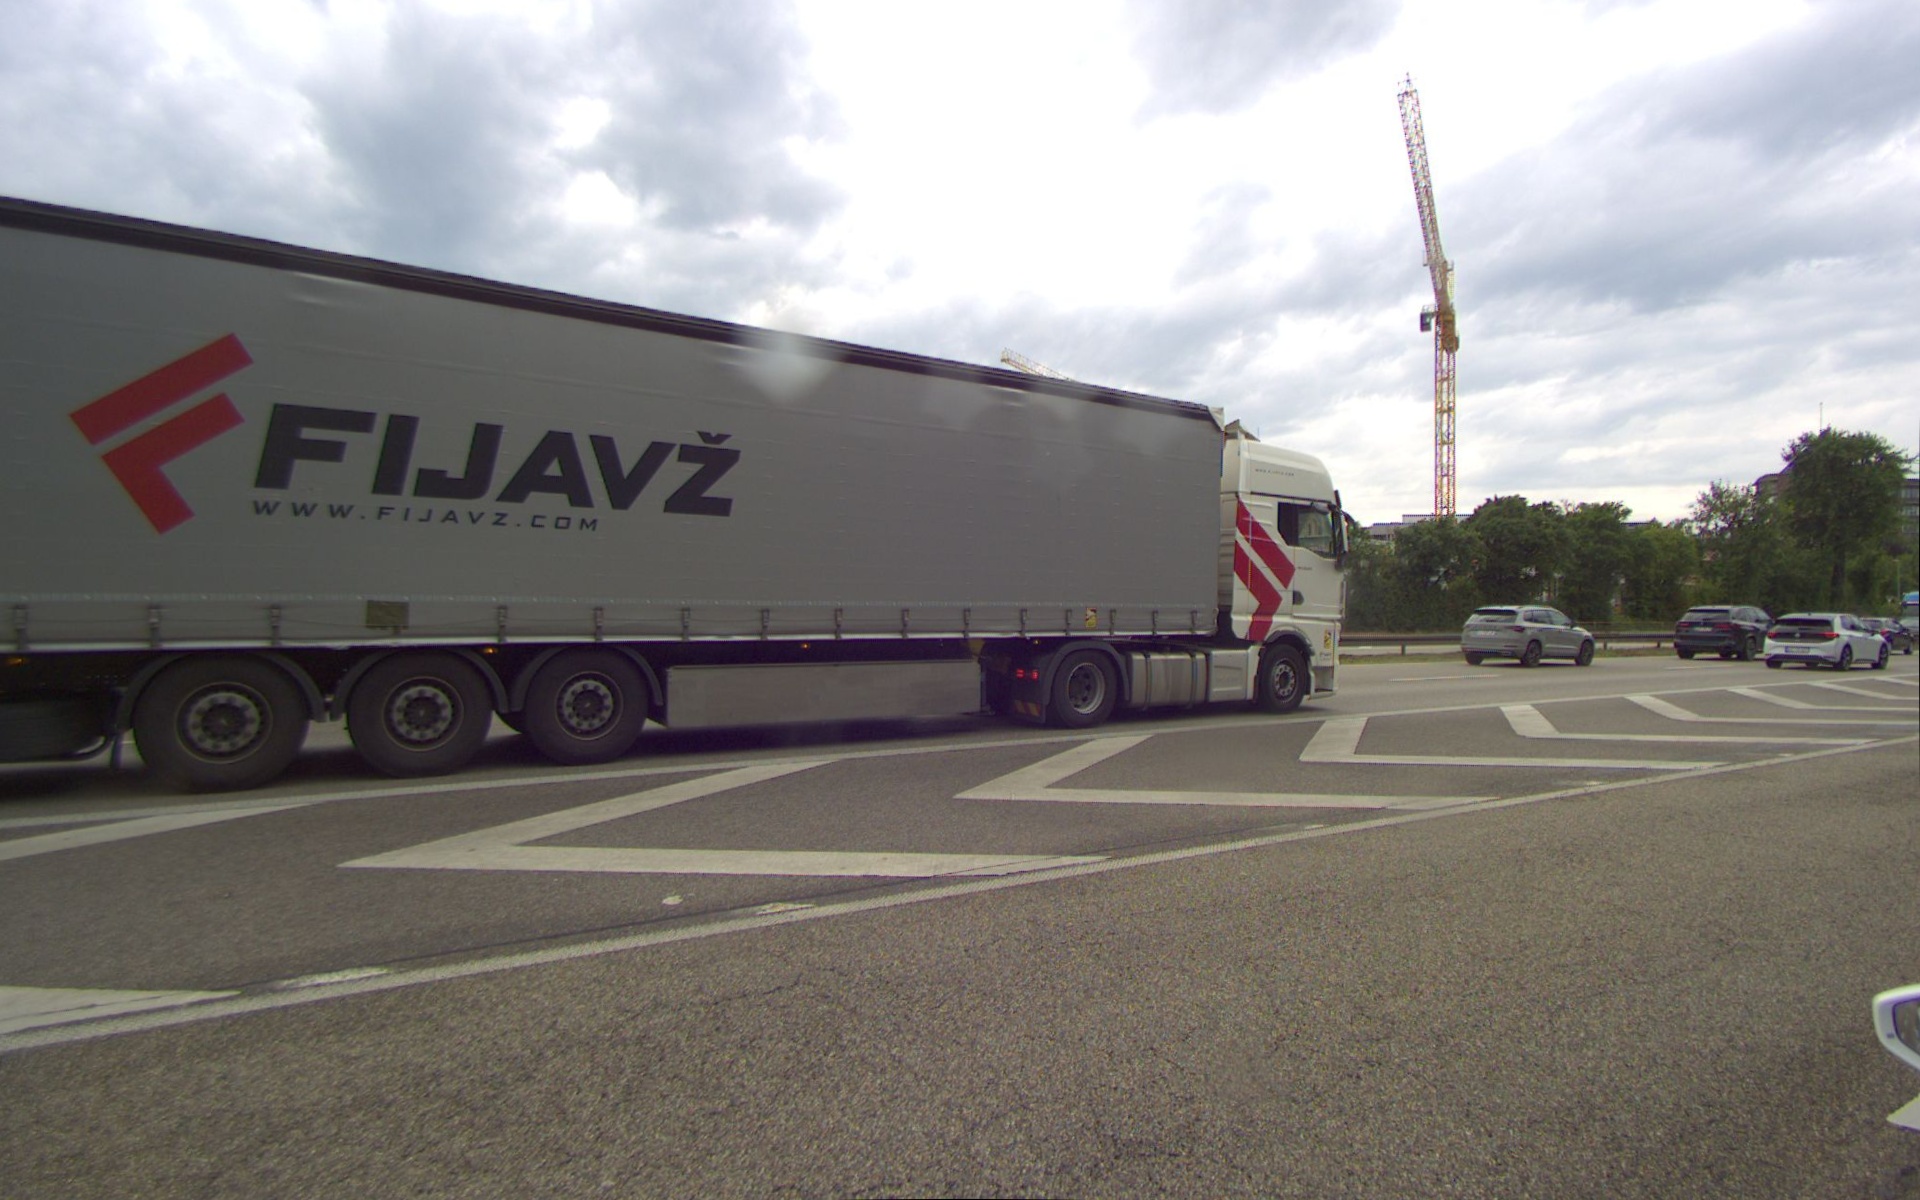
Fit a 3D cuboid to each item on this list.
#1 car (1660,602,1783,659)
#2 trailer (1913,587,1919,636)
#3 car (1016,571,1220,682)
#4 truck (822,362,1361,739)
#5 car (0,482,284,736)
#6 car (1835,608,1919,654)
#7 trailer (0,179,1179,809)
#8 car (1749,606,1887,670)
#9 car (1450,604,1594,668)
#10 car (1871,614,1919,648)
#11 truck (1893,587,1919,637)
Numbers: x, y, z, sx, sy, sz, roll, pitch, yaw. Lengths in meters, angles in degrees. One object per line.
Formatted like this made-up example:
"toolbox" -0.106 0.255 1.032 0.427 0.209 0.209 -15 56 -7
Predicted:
"car" 25.050 1.011 33.039 3.954 1.739 1.865 2 0 -31
"trailer" 79.878 1.084 79.660 13.103 3.752 2.673 2 0 -30
"car" 3.220 0.517 20.264 3.956 2.040 1.687 1 -1 -32
"truck" 1.981 -0.468 13.947 6.998 4.000 3.180 2 0 -33
"car" -10.578 0.091 10.931 5.306 2.587 1.981 1 0 -34
"car" 37.161 1.255 40.574 3.957 1.739 1.707 2 0 -33
"trailer" -3.622 -0.606 10.230 12.959 4.090 3.279 2 0 -34
"car" 24.071 1.053 28.153 4.212 1.625 1.789 2 0 -33
"car" 15.260 0.939 27.238 3.882 1.623 1.721 0 0 -31
"car" 59.780 1.945 63.626 3.953 2.040 1.984 1 -1 -30
"truck" 73.973 0.966 76.291 6.559 3.759 2.759 2 0 -30
